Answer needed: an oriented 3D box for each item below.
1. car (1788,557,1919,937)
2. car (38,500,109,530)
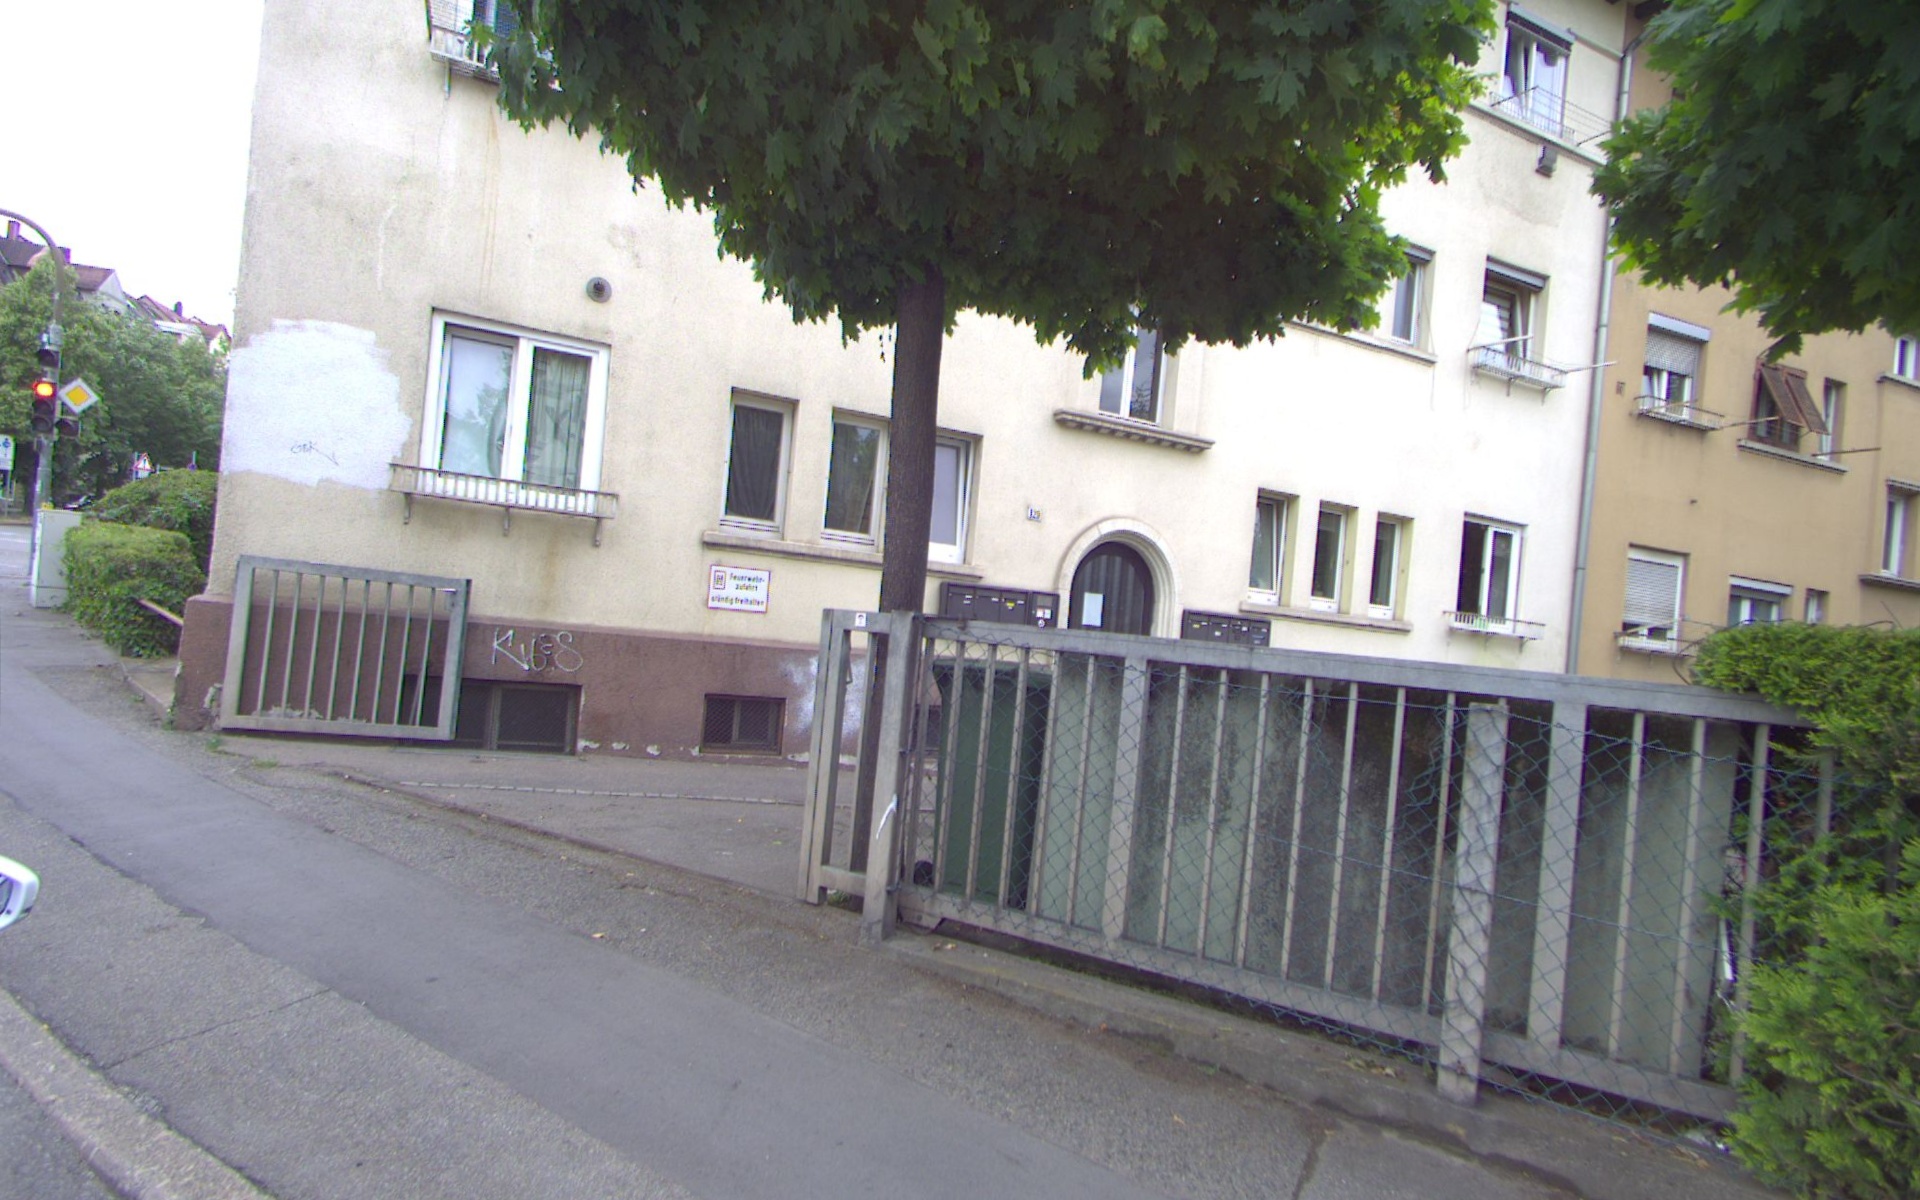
[{"bbox_3d":[5.541,0.787,3.776,3.381,1.477,1.700,6,-2,30],"label":"car"},{"bbox_3d":[-62.394,-5.962,70.884,1.848,1.432,4.684,8,-2,-17],"label":"car"}]
